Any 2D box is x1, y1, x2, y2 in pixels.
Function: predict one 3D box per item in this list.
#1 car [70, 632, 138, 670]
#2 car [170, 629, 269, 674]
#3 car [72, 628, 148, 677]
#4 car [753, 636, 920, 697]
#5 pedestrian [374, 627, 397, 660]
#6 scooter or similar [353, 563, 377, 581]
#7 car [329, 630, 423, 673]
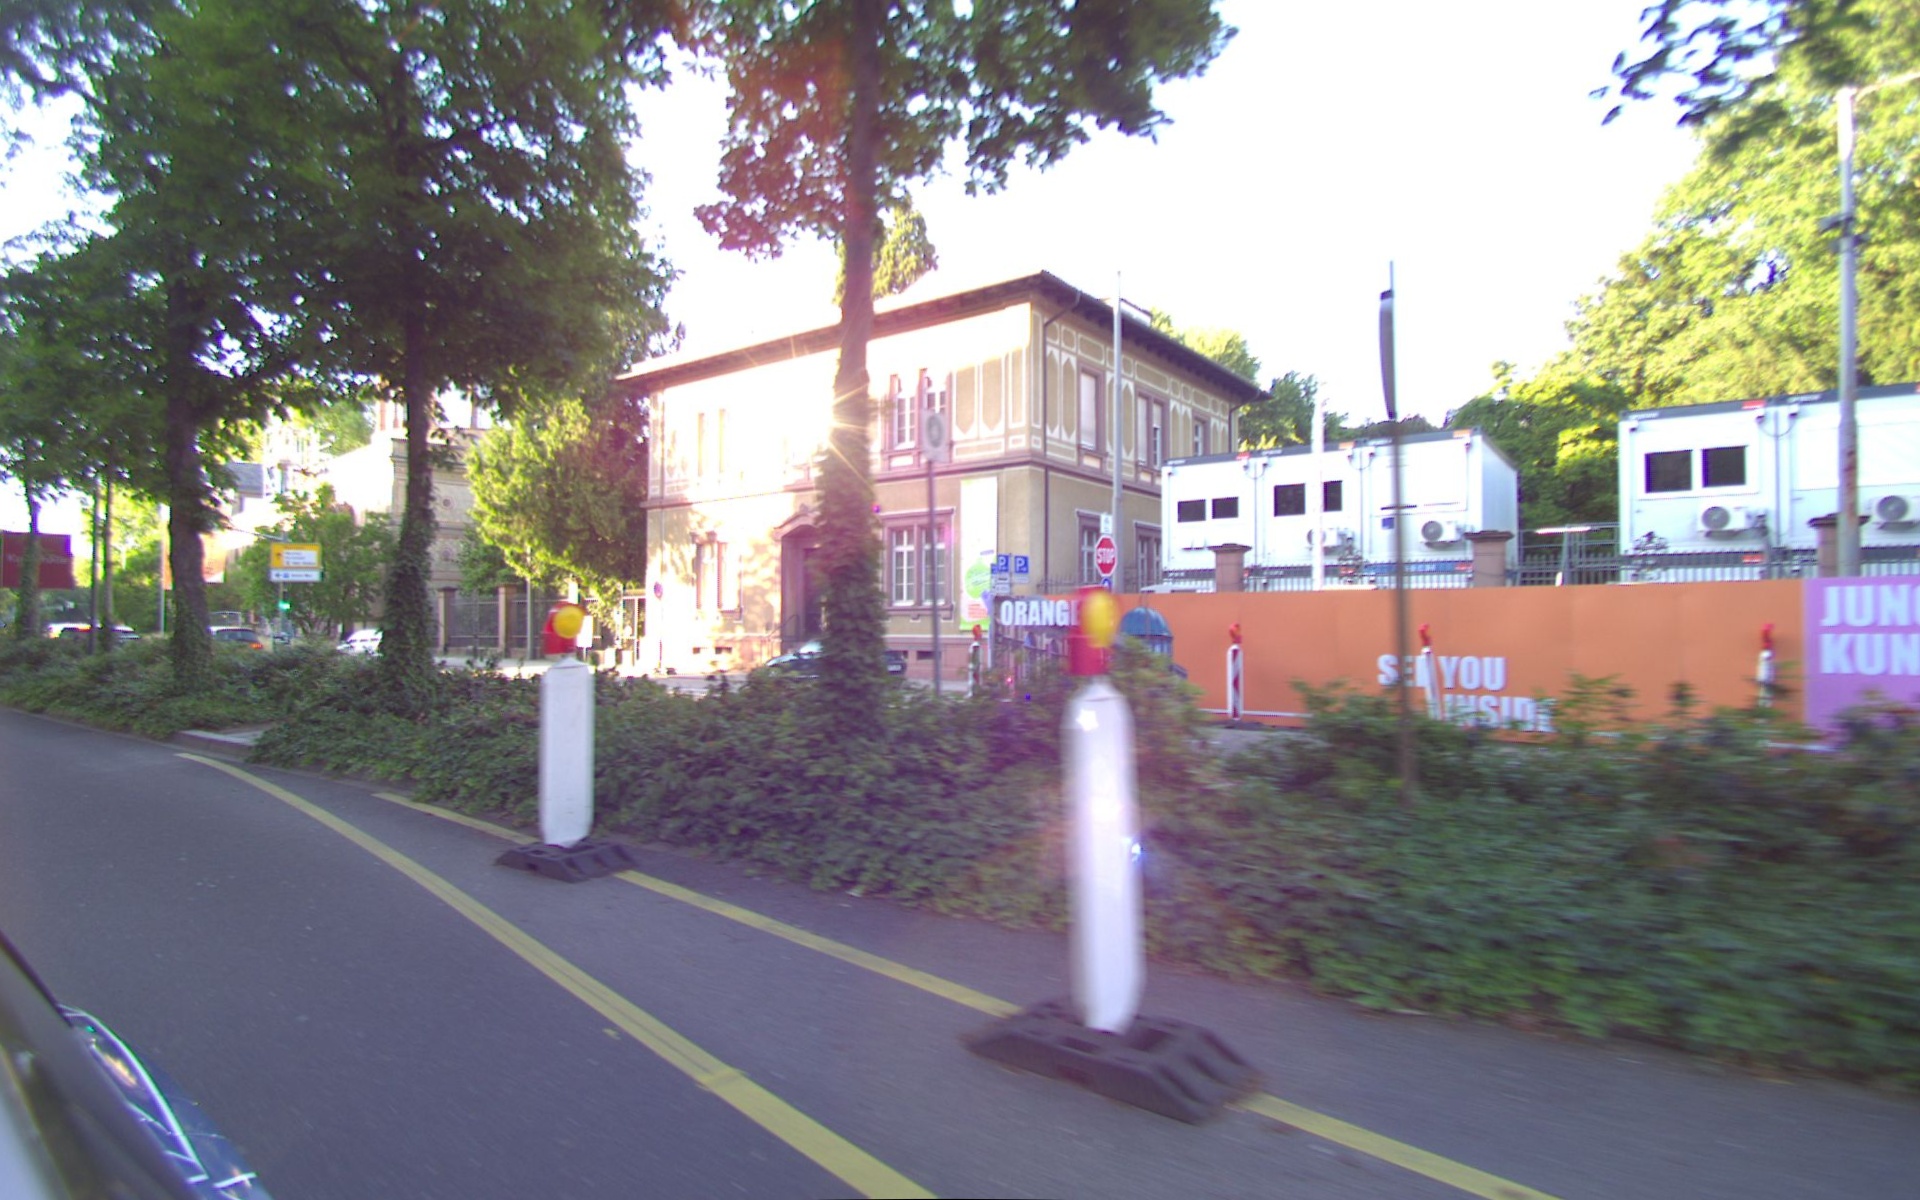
[{"bbox_3d":[-39.983,2.384,47.226,4.556,1.687,1.822,-2,-4,43],"label":"car"},{"bbox_3d":[-26.886,1.855,36.707,4.169,1.563,1.824,-2,-4,38],"label":"car"},{"bbox_3d":[-28.577,1.747,34.109,1.822,1.559,4.126,2,-3,-39],"label":"car"},{"bbox_3d":[-2.997,1.561,24.294,3.878,1.361,1.665,-1,-4,35],"label":"car"},{"bbox_3d":[-27.948,2.093,49.217,0.762,1.591,0.728,-2,-3,40],"label":"pedestrian"},{"bbox_3d":[-28.162,-1.300,47.867,1.028,0.783,0.671,-2,-3,40],"label":"scooter or similar"},{"bbox_3d":[-22.916,1.994,39.653,4.364,1.559,1.728,-2,-2,38],"label":"car"}]
